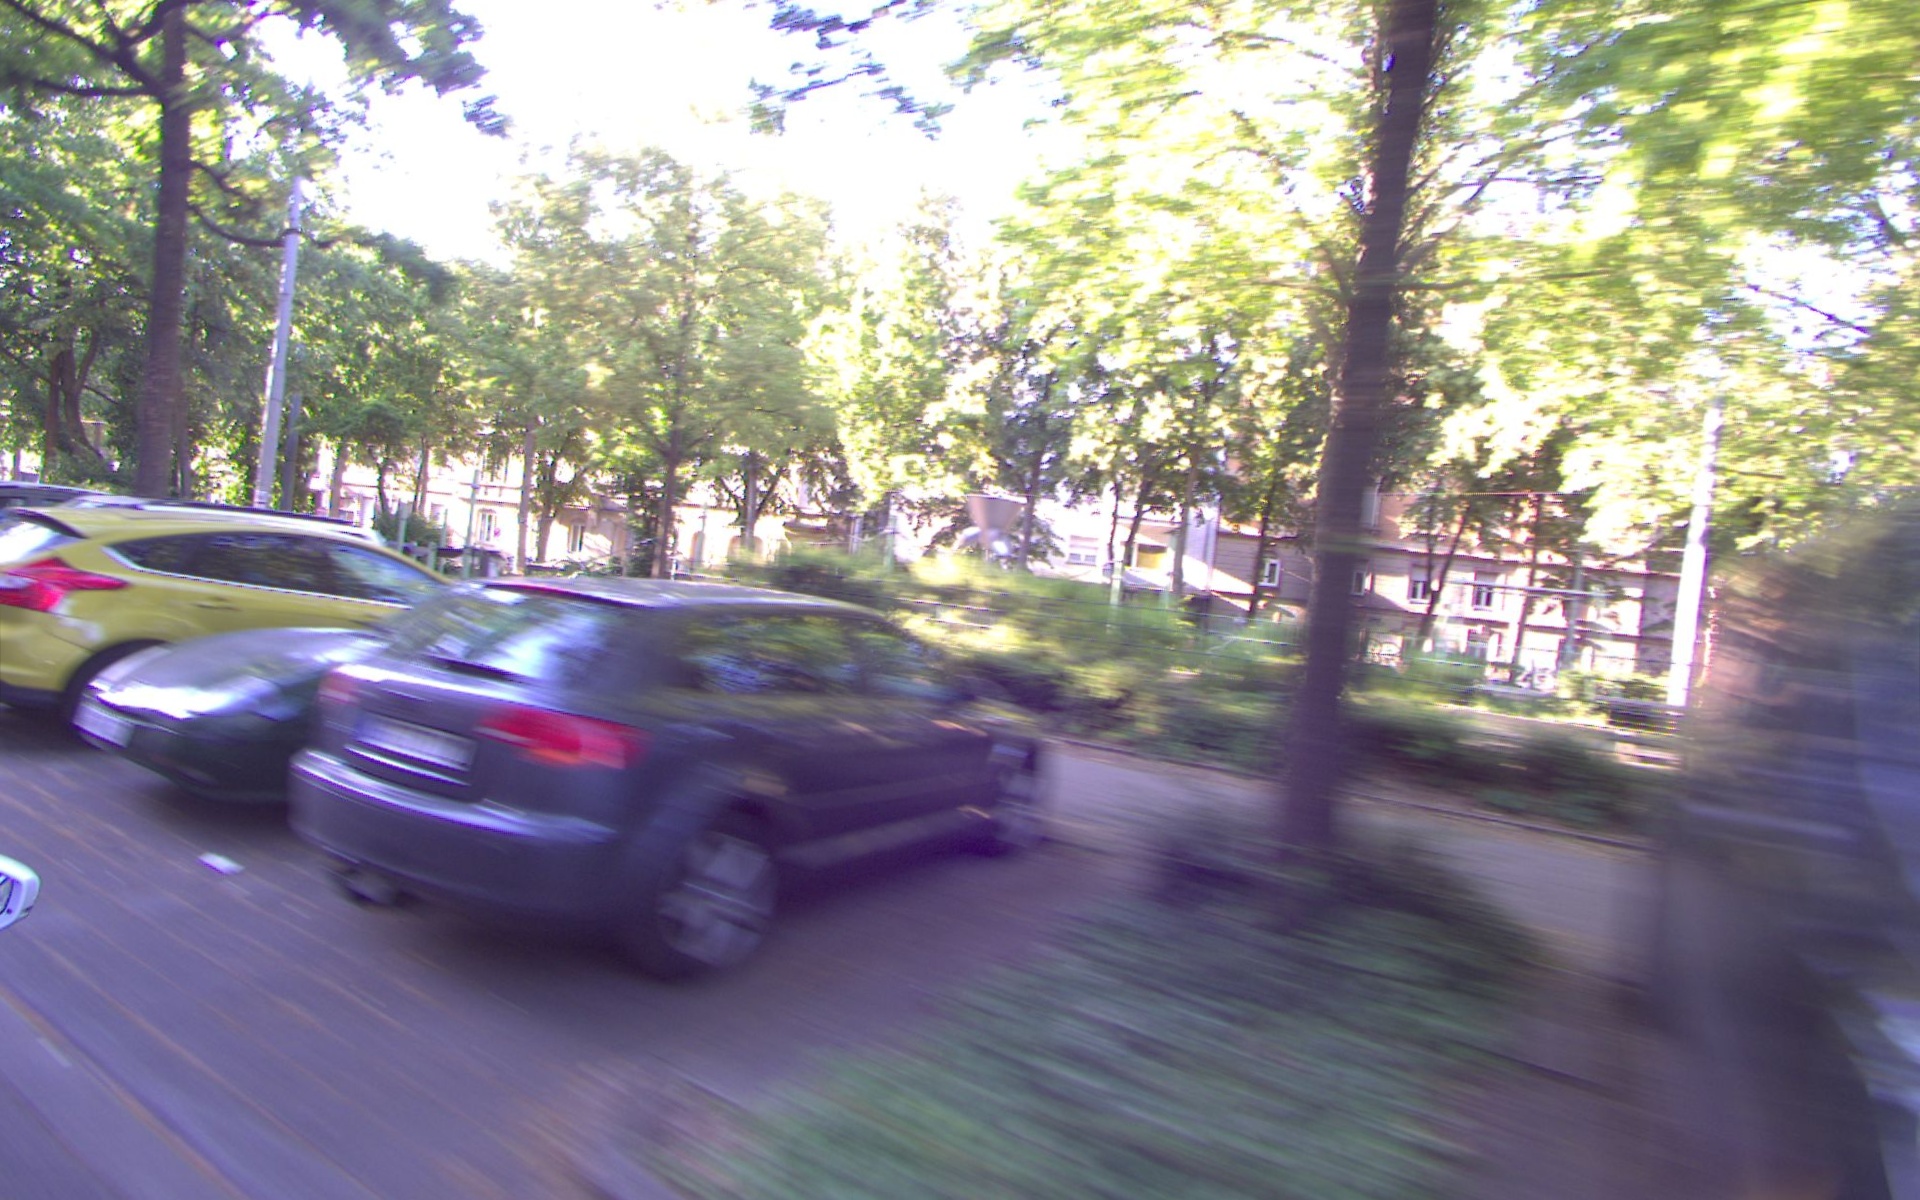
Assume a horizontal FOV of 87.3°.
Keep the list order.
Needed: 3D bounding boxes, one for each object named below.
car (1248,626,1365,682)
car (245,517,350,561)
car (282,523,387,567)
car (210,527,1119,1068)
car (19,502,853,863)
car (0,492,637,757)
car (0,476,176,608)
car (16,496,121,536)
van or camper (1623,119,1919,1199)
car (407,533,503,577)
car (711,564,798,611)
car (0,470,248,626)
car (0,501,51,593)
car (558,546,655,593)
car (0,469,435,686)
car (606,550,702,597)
[{"bbox_3d":[15.795,2.485,46.070,4.648,2.037,2.003,5,-2,11],"label":"car"},{"bbox_3d":[-36.805,-3.355,55.960,4.673,1.703,1.982,8,-3,-36],"label":"car"},{"bbox_3d":[-34.163,-2.978,55.027,4.673,1.703,1.982,8,-3,-36],"label":"car"},{"bbox_3d":[-0.886,0.652,5.216,1.807,1.458,4.405,6,0,30],"label":"car"},{"bbox_3d":[-2.847,0.428,6.513,1.808,1.458,4.401,6,0,33],"label":"car"},{"bbox_3d":[-4.911,0.193,7.711,1.808,1.458,4.401,6,0,33],"label":"car"},{"bbox_3d":[-13.250,-0.870,13.070,1.805,1.611,4.408,6,0,27],"label":"car"},{"bbox_3d":[-56.577,-5.297,63.960,4.674,1.703,1.981,8,-3,-36],"label":"car"},{"bbox_3d":[2.969,0.793,2.477,1.997,2.053,5.416,7,1,33],"label":"van or camper"},{"bbox_3d":[-26.041,-2.268,51.924,3.970,1.703,1.979,8,-3,-39],"label":"car"},{"bbox_3d":[-11.025,-0.674,53.939,3.924,2.037,2.002,5,-2,17],"label":"car"},{"bbox_3d":[-11.161,-0.673,11.597,1.808,1.611,4.403,6,0,32],"label":"car"},{"bbox_3d":[-15.212,-0.928,13.690,1.662,1.295,3.847,6,0,30],"label":"car"},{"bbox_3d":[-17.245,-1.468,49.245,1.967,1.703,3.994,5,-3,31],"label":"car"},{"bbox_3d":[-7.334,-0.176,8.901,1.807,1.611,4.404,6,0,31],"label":"car"},{"bbox_3d":[-14.566,-1.238,48.130,1.967,1.703,3.994,5,-3,31],"label":"car"}]
